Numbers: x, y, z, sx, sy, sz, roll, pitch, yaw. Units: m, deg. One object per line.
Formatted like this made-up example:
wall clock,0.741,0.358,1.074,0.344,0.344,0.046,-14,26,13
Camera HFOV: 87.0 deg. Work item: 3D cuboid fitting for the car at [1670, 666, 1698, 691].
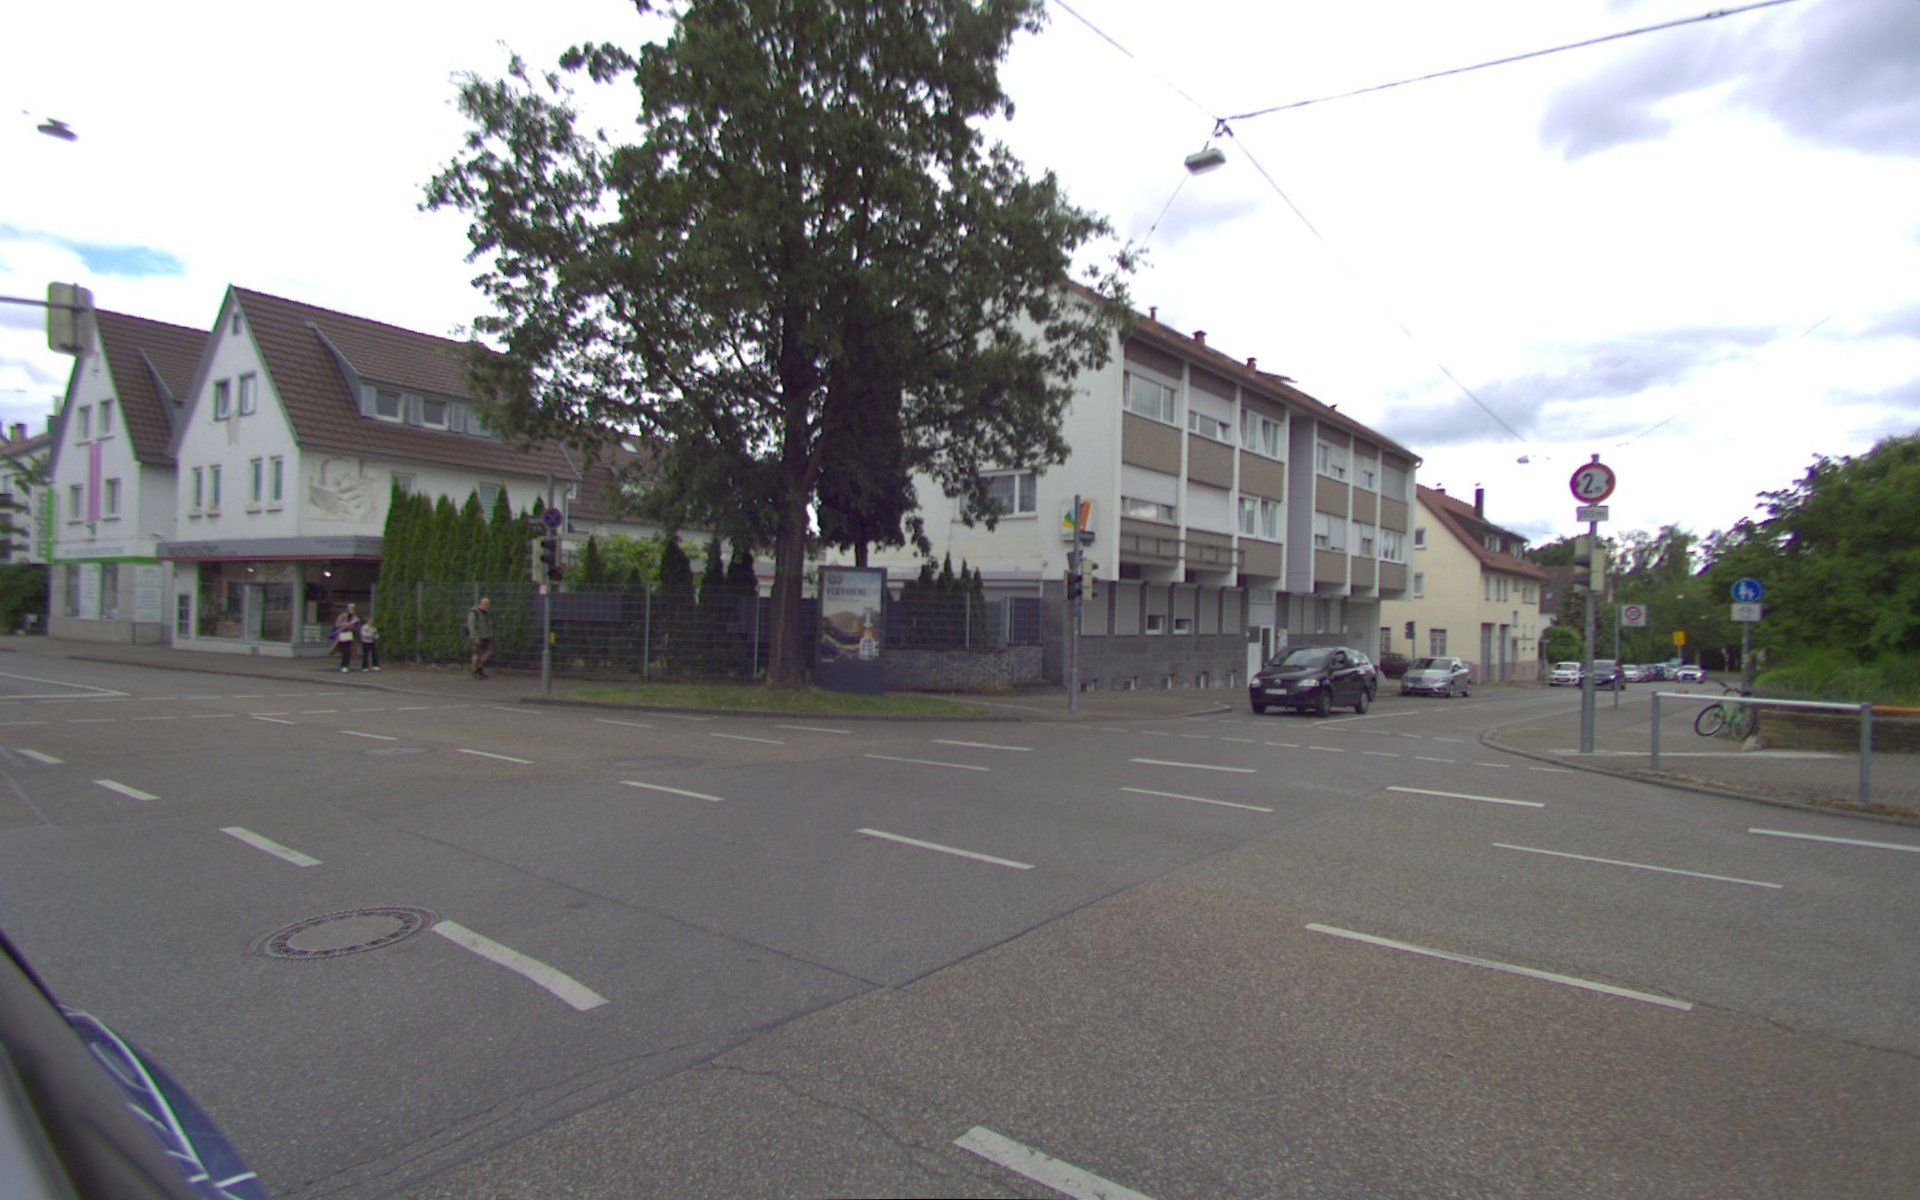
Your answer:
car,68.768,7.445,96.061,1.997,2.029,3.949,0,0,38

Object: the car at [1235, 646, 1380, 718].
car,7.771,1.795,22.478,1.771,1.409,3.594,-1,-4,42

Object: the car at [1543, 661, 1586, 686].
car,37.851,4.591,63.347,1.791,1.472,4.360,-2,-4,38

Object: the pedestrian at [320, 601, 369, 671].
pedestrian,-14.746,0.845,24.249,0.862,1.617,0.636,0,0,25

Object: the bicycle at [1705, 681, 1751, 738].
bicycle,13.657,1.932,18.012,0.423,0.949,1.306,0,-4,27

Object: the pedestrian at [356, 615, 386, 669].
pedestrian,-14.354,1.018,24.652,0.547,1.271,0.379,0,0,25

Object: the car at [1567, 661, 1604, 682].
car,45.565,5.207,73.702,1.791,1.472,4.360,-2,-4,38

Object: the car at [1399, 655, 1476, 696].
car,18.326,2.913,38.785,1.828,1.450,3.596,-2,-5,40

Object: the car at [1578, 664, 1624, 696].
car,35.351,4.388,55.767,1.740,1.528,3.948,-1,-2,38

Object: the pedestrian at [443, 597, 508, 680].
pedestrian,-10.708,0.826,22.370,1.227,1.767,0.814,0,0,36
